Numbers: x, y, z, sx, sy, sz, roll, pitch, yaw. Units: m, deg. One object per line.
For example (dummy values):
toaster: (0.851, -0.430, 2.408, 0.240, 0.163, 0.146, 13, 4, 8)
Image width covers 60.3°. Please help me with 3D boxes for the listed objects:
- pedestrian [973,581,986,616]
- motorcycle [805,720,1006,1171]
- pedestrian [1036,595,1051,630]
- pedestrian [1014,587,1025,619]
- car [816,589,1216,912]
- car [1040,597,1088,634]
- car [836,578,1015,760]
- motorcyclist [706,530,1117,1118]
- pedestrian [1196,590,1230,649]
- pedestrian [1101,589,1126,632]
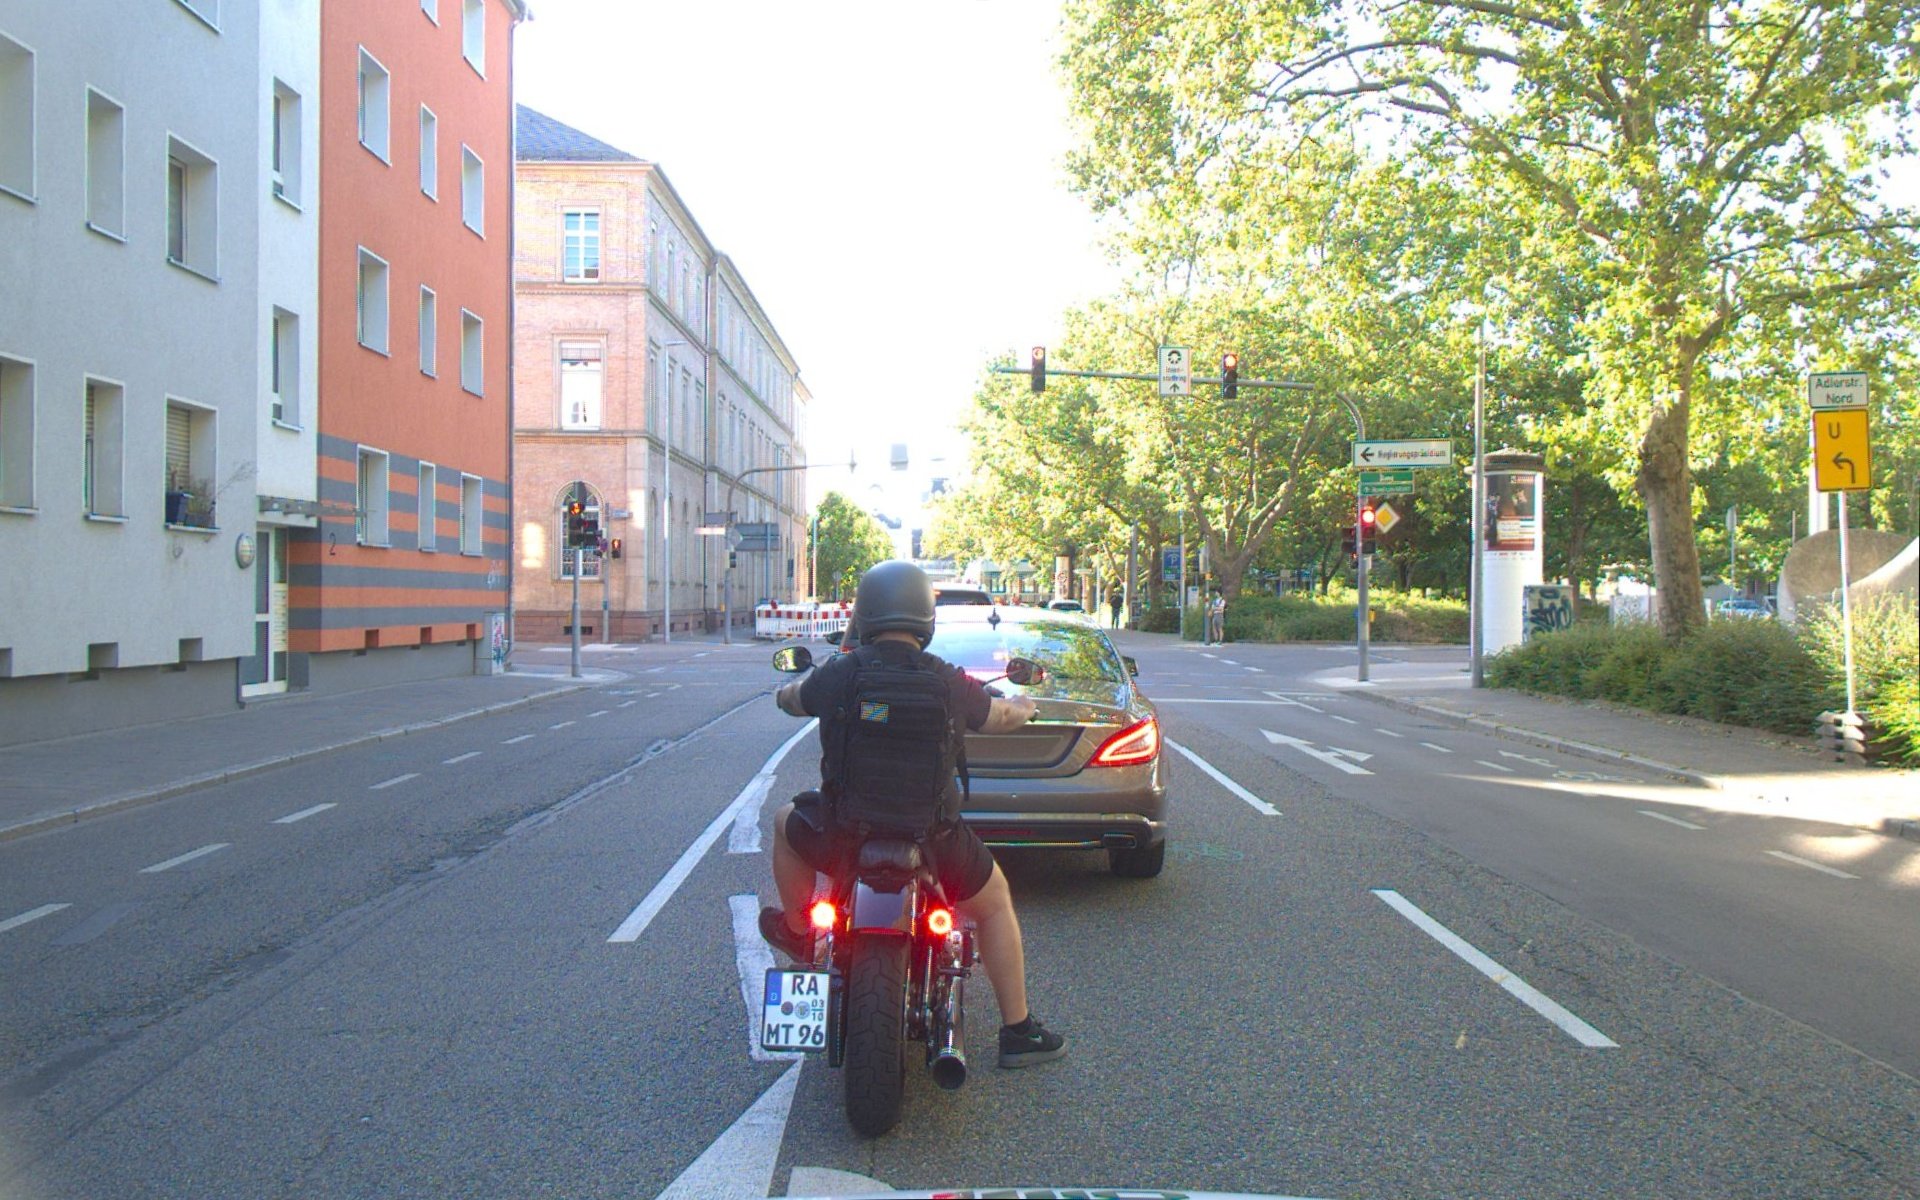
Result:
pedestrian: (1.163, -0.089, 100.776, 0.748, 2.087, 0.712, 1, -1, -1)
motorcycle: (-0.156, 0.968, 5.290, 0.503, 1.020, 2.013, 1, 0, -1)
pedestrian: (4.847, 0.720, 96.221, 0.797, 2.049, 1.270, 1, 0, -1)
pedestrian: (3.811, 0.195, 106.664, 0.643, 2.049, 0.933, 1, -1, -1)
car: (0.234, 0.692, 9.620, 1.844, 1.475, 3.819, 1, 0, -1)
car: (4.329, 0.630, 69.191, 1.740, 1.453, 3.801, 0, 0, -1)
car: (-0.332, 0.605, 16.728, 1.588, 1.622, 3.999, 0, 0, -1)
motorcyclist: (-0.142, 0.630, 5.270, 1.125, 1.626, 1.288, 1, 0, -1)
pedestrian: (8.145, 0.611, 53.243, 0.980, 1.858, 1.077, 1, 0, 5)
pedestrian: (6.974, 0.484, 75.126, 0.741, 1.943, 0.917, 1, -1, -29)
